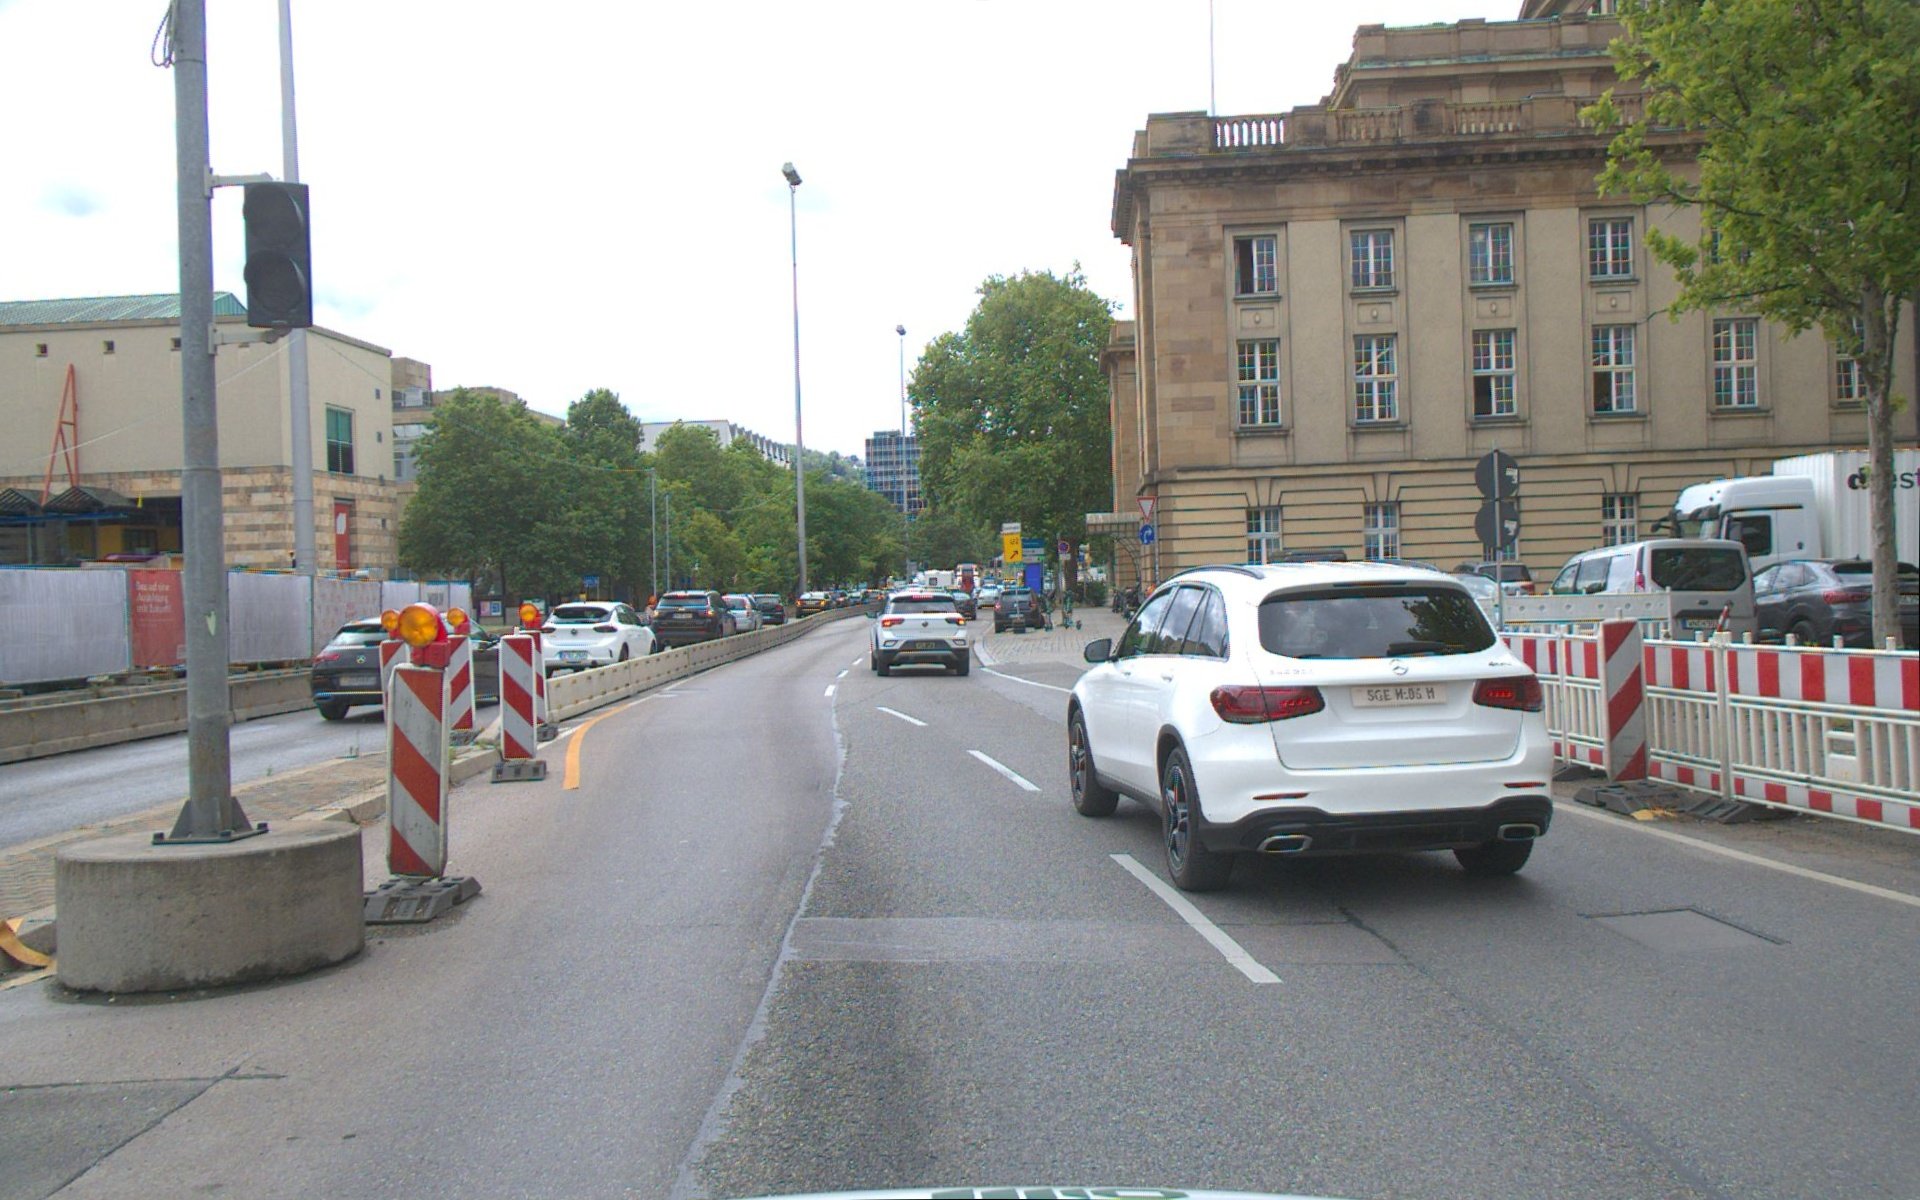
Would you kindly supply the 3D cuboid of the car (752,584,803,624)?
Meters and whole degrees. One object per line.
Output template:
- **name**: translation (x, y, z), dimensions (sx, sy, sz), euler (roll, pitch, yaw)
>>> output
- **car**: translation (-7.748, 0.163, 70.505), dimensions (1.715, 1.595, 4.330), euler (-2, 0, -1)

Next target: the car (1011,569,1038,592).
- **car**: translation (7.291, -2.243, 185.604), dimensions (2.527, 2.415, 5.531), euler (-3, 1, 6)

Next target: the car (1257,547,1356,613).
- **car**: translation (9.054, -0.482, 43.557), dimensions (1.818, 1.595, 4.332), euler (-2, 0, 2)

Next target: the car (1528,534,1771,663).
- **car**: translation (9.547, -0.006, 23.275), dimensions (1.714, 1.595, 4.332), euler (-2, 0, 2)

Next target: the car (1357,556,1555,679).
- **car**: translation (7.149, 0.243, 24.258), dimensions (1.714, 1.595, 4.332), euler (-2, 0, 2)

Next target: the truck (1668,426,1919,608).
- **truck**: translation (18.658, -1.596, 30.662), dimensions (9.821, 3.104, 2.570), euler (-2, -1, 2)

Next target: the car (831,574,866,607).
- **car**: translation (-7.511, -0.652, 111.575), dimensions (1.953, 2.048, 4.001), euler (-2, 2, 0)

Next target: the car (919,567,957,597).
- **car**: translation (-1.859, -1.578, 140.981), dimensions (2.527, 2.415, 5.531), euler (-3, 1, 6)

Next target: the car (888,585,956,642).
- **car**: translation (-1.184, 0.387, 50.227), dimensions (1.788, 1.595, 4.476), euler (0, 1, -5)

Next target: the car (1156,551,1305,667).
- **car**: translation (4.072, 0.138, 25.543), dimensions (1.714, 1.595, 4.332), euler (-2, 0, 2)

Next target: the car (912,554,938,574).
- **car**: translation (-4.381, -4.539, 210.496), dimensions (2.527, 2.415, 5.531), euler (-3, 1, 6)

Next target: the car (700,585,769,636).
- **car**: translation (-7.584, 0.331, 55.982), dimensions (1.715, 1.595, 4.331), euler (-2, 0, -1)

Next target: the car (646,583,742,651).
- **car**: translation (-6.981, 0.424, 43.644), dimensions (1.714, 1.595, 3.378), euler (-4, 0, 3)

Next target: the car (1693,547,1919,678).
- **car**: translation (11.906, 0.155, 22.759), dimensions (1.818, 1.595, 4.332), euler (-2, 0, 2)

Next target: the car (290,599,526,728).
- **car**: translation (-7.725, 0.824, 23.605), dimensions (1.714, 1.595, 4.333), euler (-2, 0, 2)

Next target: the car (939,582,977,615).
- **car**: translation (-0.074, -0.087, 84.580), dimensions (1.785, 1.595, 4.481), euler (0, 1, 2)

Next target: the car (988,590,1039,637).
- **car**: translation (1.940, 0.461, 60.023), dimensions (1.785, 1.595, 4.481), euler (0, 1, 2)

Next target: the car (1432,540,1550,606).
- **car**: translation (13.862, -0.671, 43.391), dimensions (1.818, 1.595, 4.332), euler (-2, 0, 2)

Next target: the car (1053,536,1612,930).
- **car**: translation (1.849, 0.585, 9.815), dimensions (1.777, 1.671, 4.546), euler (-4, 1, -6)

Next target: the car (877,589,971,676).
- **car**: translation (-0.752, 0.586, 32.370), dimensions (1.715, 1.595, 4.329), euler (0, 0, -3)

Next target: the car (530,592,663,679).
- **car**: translation (-7.125, 0.656, 32.733), dimensions (1.714, 1.595, 3.378), euler (-1, 0, 3)

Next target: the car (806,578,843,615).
- **car**: translation (-8.245, -0.228, 100.923), dimensions (1.953, 2.048, 4.000), euler (-2, 2, -1)

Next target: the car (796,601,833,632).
- **car**: translation (-8.079, 0.895, 92.143), dimensions (1.715, 1.595, 4.330), euler (-2, 0, -1)
